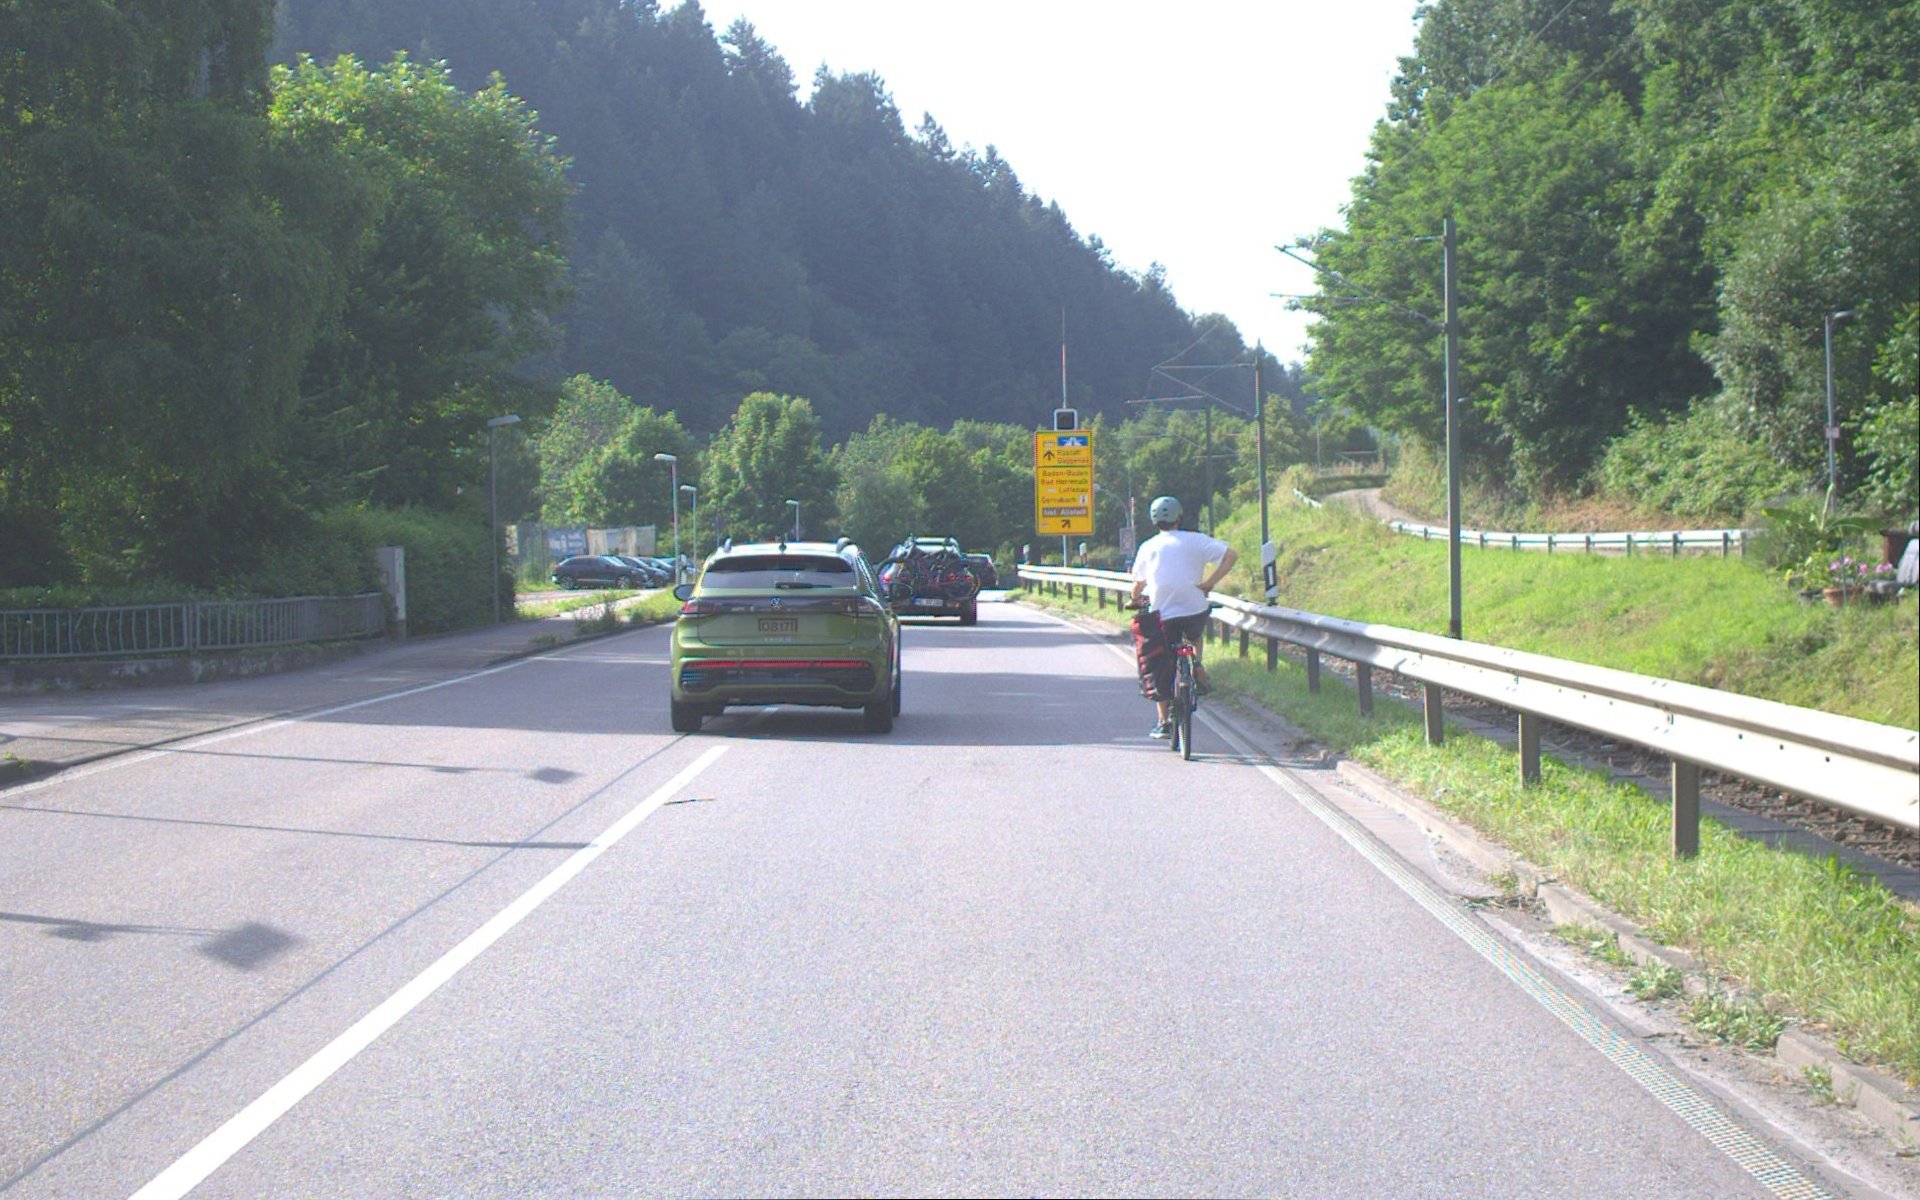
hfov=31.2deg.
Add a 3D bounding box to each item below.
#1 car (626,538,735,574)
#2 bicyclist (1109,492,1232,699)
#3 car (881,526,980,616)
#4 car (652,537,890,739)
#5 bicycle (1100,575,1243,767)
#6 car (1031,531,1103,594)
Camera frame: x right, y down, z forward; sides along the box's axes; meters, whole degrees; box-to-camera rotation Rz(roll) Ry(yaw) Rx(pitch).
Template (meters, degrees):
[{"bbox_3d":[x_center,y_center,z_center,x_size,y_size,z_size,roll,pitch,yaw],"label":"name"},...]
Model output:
[{"bbox_3d":[-11.338,-1.777,139.561,4.259,1.428,1.557,0,1,2],"label":"car"},{"bbox_3d":[1.455,-0.039,23.853,0.782,1.407,0.675,0,1,-1],"label":"bicyclist"},{"bbox_3d":[-0.528,-0.554,62.744,1.739,1.596,4.000,0,1,0],"label":"car"},{"bbox_3d":[-1.468,0.251,27.930,1.739,1.503,4.000,0,1,0],"label":"car"},{"bbox_3d":[1.452,0.463,23.962,0.811,1.246,2.123,0,1,-1],"label":"bicycle"},{"bbox_3d":[2.801,-1.001,90.437,1.739,1.596,4.000,0,1,0],"label":"car"}]
